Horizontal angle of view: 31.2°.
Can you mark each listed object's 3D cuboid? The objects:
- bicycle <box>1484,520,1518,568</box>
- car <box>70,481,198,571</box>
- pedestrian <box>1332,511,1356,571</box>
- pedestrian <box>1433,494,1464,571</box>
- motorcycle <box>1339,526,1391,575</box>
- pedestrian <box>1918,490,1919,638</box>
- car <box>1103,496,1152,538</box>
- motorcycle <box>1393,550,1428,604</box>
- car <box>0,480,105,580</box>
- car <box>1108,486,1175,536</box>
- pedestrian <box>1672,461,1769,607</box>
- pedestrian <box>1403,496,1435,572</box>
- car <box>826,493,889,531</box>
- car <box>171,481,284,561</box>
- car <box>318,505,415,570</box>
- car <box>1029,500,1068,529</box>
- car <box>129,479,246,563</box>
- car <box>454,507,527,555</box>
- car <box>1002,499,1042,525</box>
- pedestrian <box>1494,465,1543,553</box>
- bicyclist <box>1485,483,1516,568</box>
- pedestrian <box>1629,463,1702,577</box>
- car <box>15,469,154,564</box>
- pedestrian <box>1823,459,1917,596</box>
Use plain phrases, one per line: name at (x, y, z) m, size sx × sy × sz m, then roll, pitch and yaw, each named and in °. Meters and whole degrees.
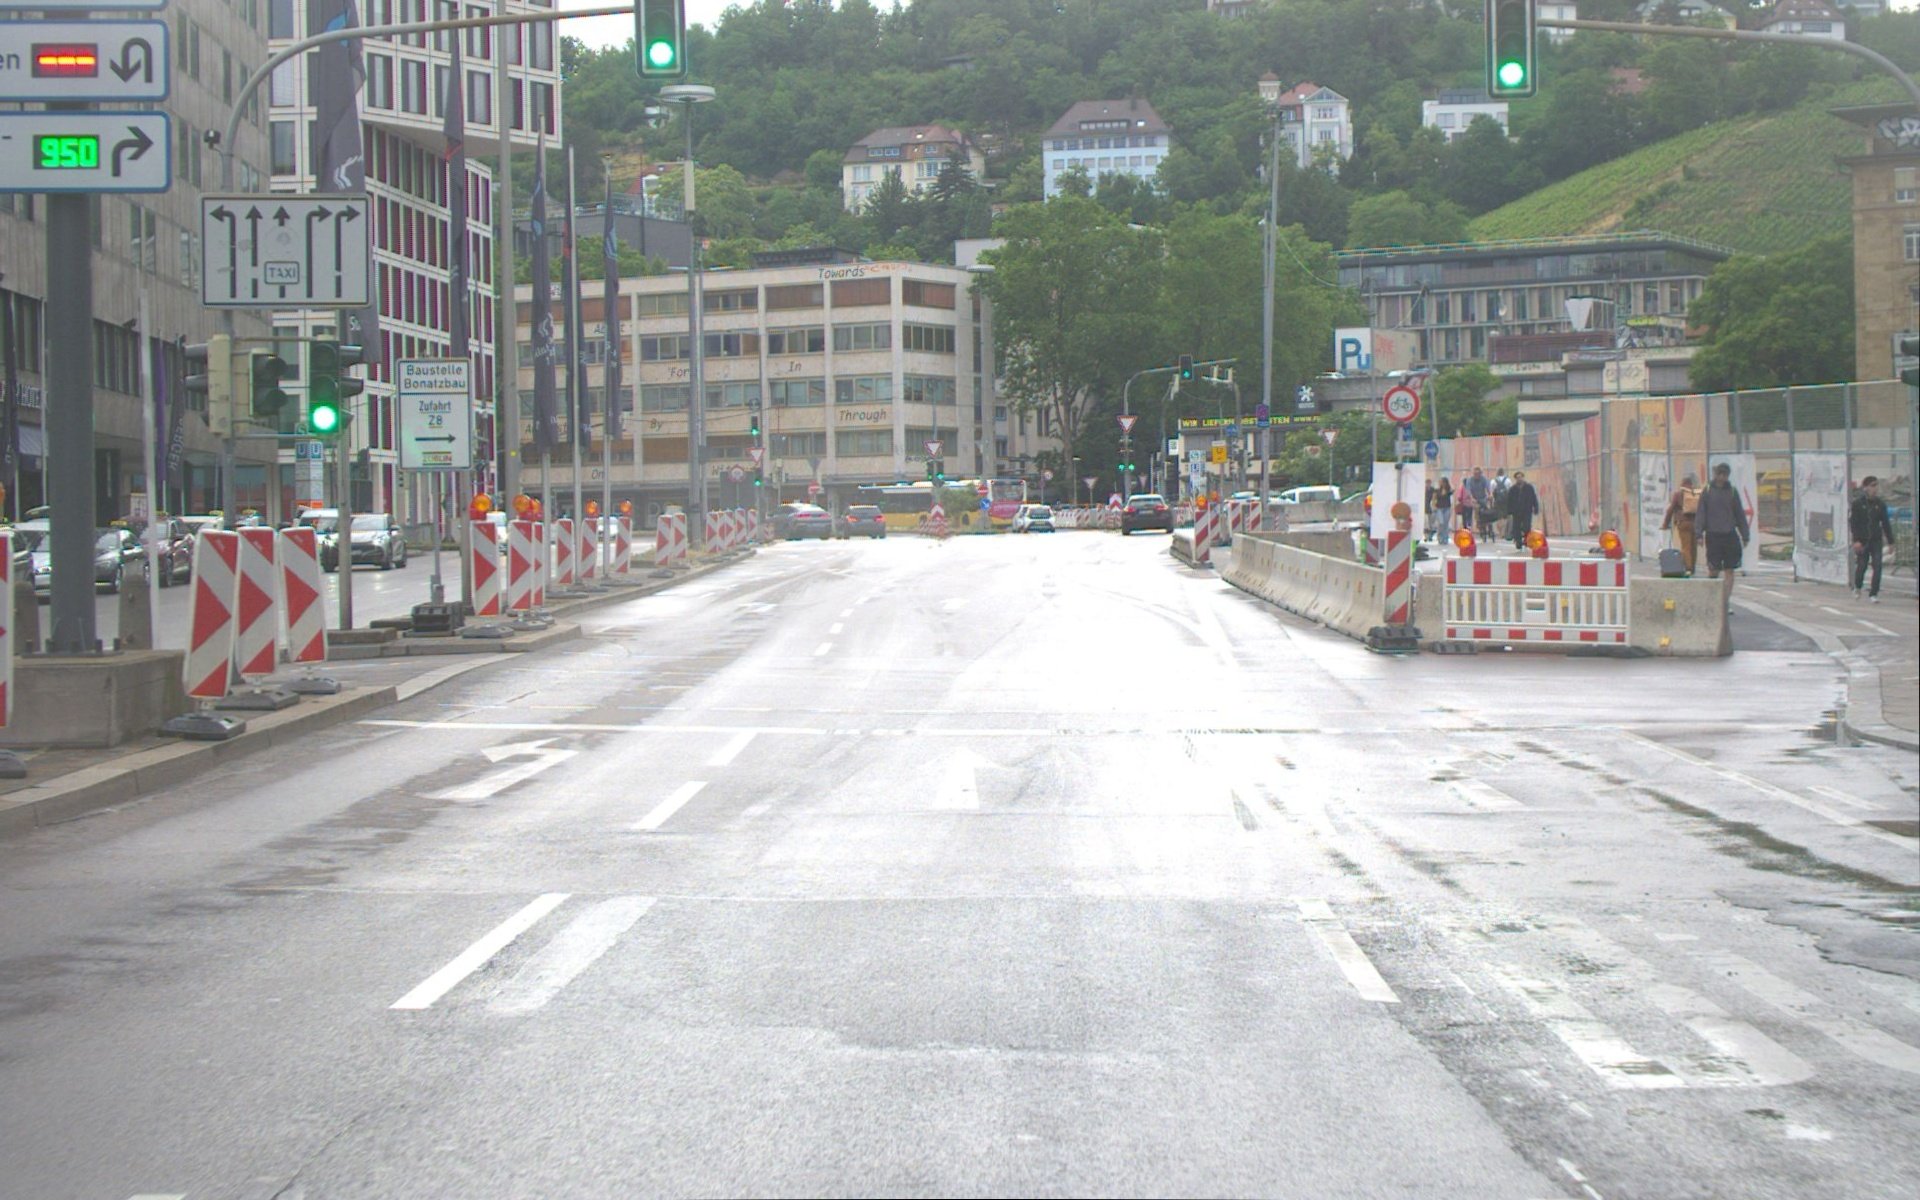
bicycle at (12.999, -1.346, 82.633) m, size 0.645 × 1.133 × 1.763 m, roll -1°, pitch 1°, yaw 4°
car at (-19.241, -1.713, 80.250) m, size 1.993 × 2.007 × 4.000 m, roll -1°, pitch 1°, yaw 0°
pedestrian at (11.758, -1.806, 105.353) m, size 0.688 × 1.835 × 0.614 m, roll -1°, pitch 1°, yaw 4°
pedestrian at (11.872, -1.638, 83.574) m, size 0.688 × 1.835 × 0.614 m, roll -1°, pitch 1°, yaw 4°
motorcycle at (5.772, -0.710, 49.042) m, size 0.400 × 0.679 × 0.922 m, roll 0°, pitch 2°, yaw -16°
pedestrian at (9.704, -0.264, 33.011) m, size 0.796 × 1.602 × 0.834 m, roll -1°, pitch 1°, yaw 28°
car at (6.790, -3.392, 140.032) m, size 1.776 × 1.633 × 4.000 m, roll -1°, pitch 1°, yaw 0°
motorcycle at (6.252, -0.322, 47.687) m, size 0.371 × 0.719 × 0.922 m, roll 1°, pitch 2°, yaw 1°
car at (-19.286, -1.444, 71.431) m, size 1.993 × 2.007 × 4.164 m, roll -1°, pitch 1°, yaw 0°
car at (6.429, -3.146, 122.026) m, size 1.993 × 1.700 × 4.001 m, roll -1°, pitch 1°, yaw -2°
pedestrian at (9.729, -0.838, 43.982) m, size 0.948 × 1.835 × 0.945 m, roll -1°, pitch 1°, yaw 30°
pedestrian at (11.165, -1.610, 83.631) m, size 0.688 × 1.835 × 0.614 m, roll -1°, pitch 1°, yaw 4°
car at (-4.410, -3.756, 146.894) m, size 1.993 × 1.546 × 4.001 m, roll -1°, pitch 1°, yaw -12°
car at (-19.251, -2.066, 90.537) m, size 1.993 × 2.007 × 4.416 m, roll -1°, pitch 1°, yaw 0°
car at (-16.532, -1.748, 95.959) m, size 1.993 × 1.744 × 4.000 m, roll -1°, pitch 1°, yaw 0°
car at (4.624, -4.485, 179.885) m, size 1.819 × 1.437 × 4.001 m, roll 1°, pitch 2°, yaw -2°
car at (-19.234, -1.957, 85.728) m, size 1.993 × 2.007 × 4.000 m, roll -1°, pitch 1°, yaw 0°
car at (-16.583, -2.437, 121.627) m, size 1.993 × 1.612 × 4.000 m, roll -1°, pitch 1°, yaw 0°
car at (3.478, -4.966, 193.487) m, size 1.993 × 1.437 × 4.001 m, roll 1°, pitch 2°, yaw -2°
pedestrian at (11.833, -1.919, 72.881) m, size 0.946 × 1.835 × 0.867 m, roll -1°, pitch 1°, yaw 6°
bicyclist at (12.990, -1.788, 82.615) m, size 0.642 × 2.007 × 0.655 m, roll -1°, pitch 1°, yaw 4°
pedestrian at (11.589, -1.307, 56.480) m, size 0.946 × 1.835 × 0.867 m, roll -1°, pitch 1°, yaw -4°
car at (-19.210, -1.829, 75.593) m, size 1.993 × 2.007 × 4.000 m, roll -1°, pitch 1°, yaw 0°
pedestrian at (12.400, -0.985, 46.835) m, size 0.867 × 1.835 × 0.947 m, roll 0°, pitch 1°, yaw 42°
